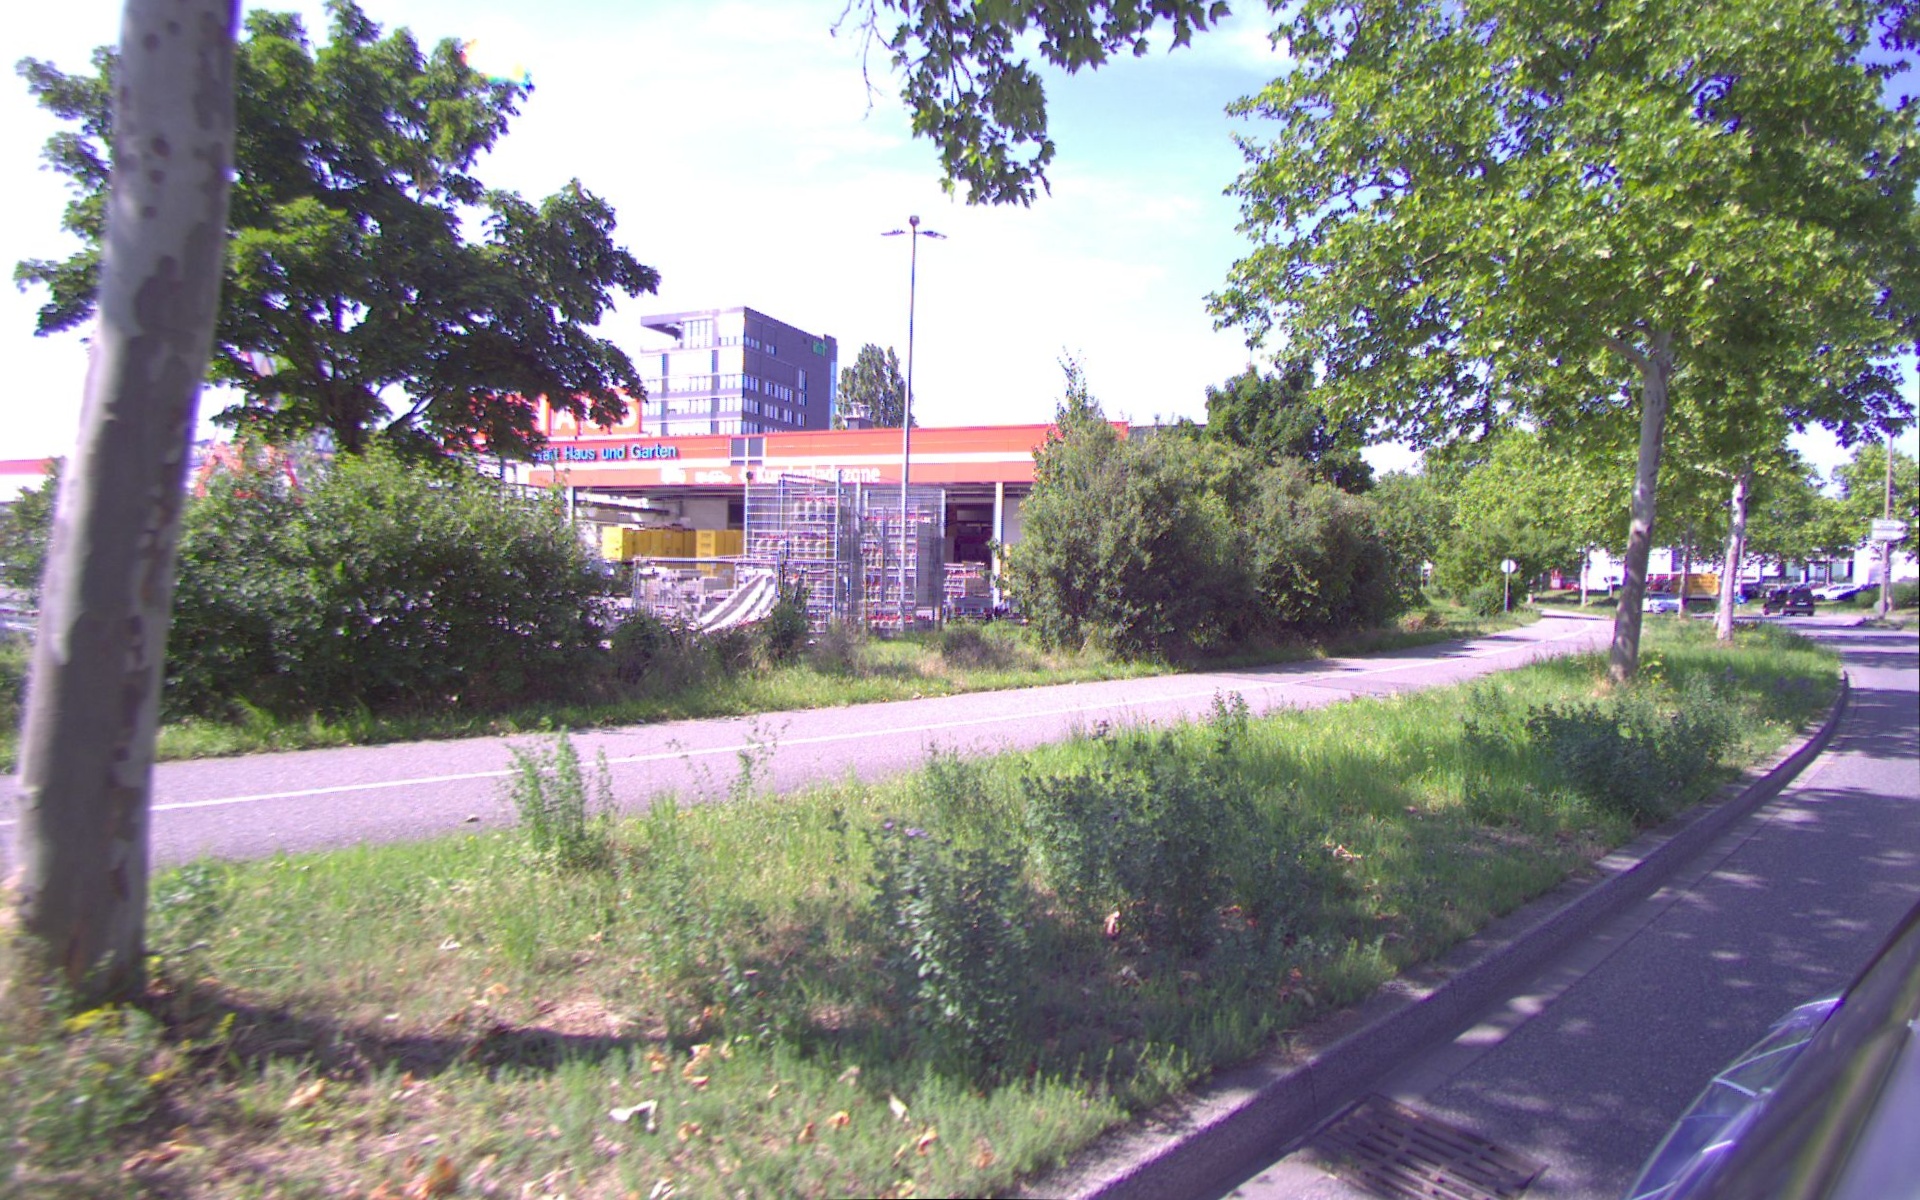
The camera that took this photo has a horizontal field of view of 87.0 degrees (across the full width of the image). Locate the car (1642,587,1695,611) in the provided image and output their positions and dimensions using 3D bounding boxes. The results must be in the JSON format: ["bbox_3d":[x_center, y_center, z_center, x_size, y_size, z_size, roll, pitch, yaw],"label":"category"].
[{"bbox_3d":[48.182,-0.094,68.930,1.801,1.540,4.183,1,1,18],"label":"car"}]

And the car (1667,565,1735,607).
[{"bbox_3d":[65.424,-1.193,89.509,2.747,3.475,5.981,-1,0,15],"label":"car"}]
